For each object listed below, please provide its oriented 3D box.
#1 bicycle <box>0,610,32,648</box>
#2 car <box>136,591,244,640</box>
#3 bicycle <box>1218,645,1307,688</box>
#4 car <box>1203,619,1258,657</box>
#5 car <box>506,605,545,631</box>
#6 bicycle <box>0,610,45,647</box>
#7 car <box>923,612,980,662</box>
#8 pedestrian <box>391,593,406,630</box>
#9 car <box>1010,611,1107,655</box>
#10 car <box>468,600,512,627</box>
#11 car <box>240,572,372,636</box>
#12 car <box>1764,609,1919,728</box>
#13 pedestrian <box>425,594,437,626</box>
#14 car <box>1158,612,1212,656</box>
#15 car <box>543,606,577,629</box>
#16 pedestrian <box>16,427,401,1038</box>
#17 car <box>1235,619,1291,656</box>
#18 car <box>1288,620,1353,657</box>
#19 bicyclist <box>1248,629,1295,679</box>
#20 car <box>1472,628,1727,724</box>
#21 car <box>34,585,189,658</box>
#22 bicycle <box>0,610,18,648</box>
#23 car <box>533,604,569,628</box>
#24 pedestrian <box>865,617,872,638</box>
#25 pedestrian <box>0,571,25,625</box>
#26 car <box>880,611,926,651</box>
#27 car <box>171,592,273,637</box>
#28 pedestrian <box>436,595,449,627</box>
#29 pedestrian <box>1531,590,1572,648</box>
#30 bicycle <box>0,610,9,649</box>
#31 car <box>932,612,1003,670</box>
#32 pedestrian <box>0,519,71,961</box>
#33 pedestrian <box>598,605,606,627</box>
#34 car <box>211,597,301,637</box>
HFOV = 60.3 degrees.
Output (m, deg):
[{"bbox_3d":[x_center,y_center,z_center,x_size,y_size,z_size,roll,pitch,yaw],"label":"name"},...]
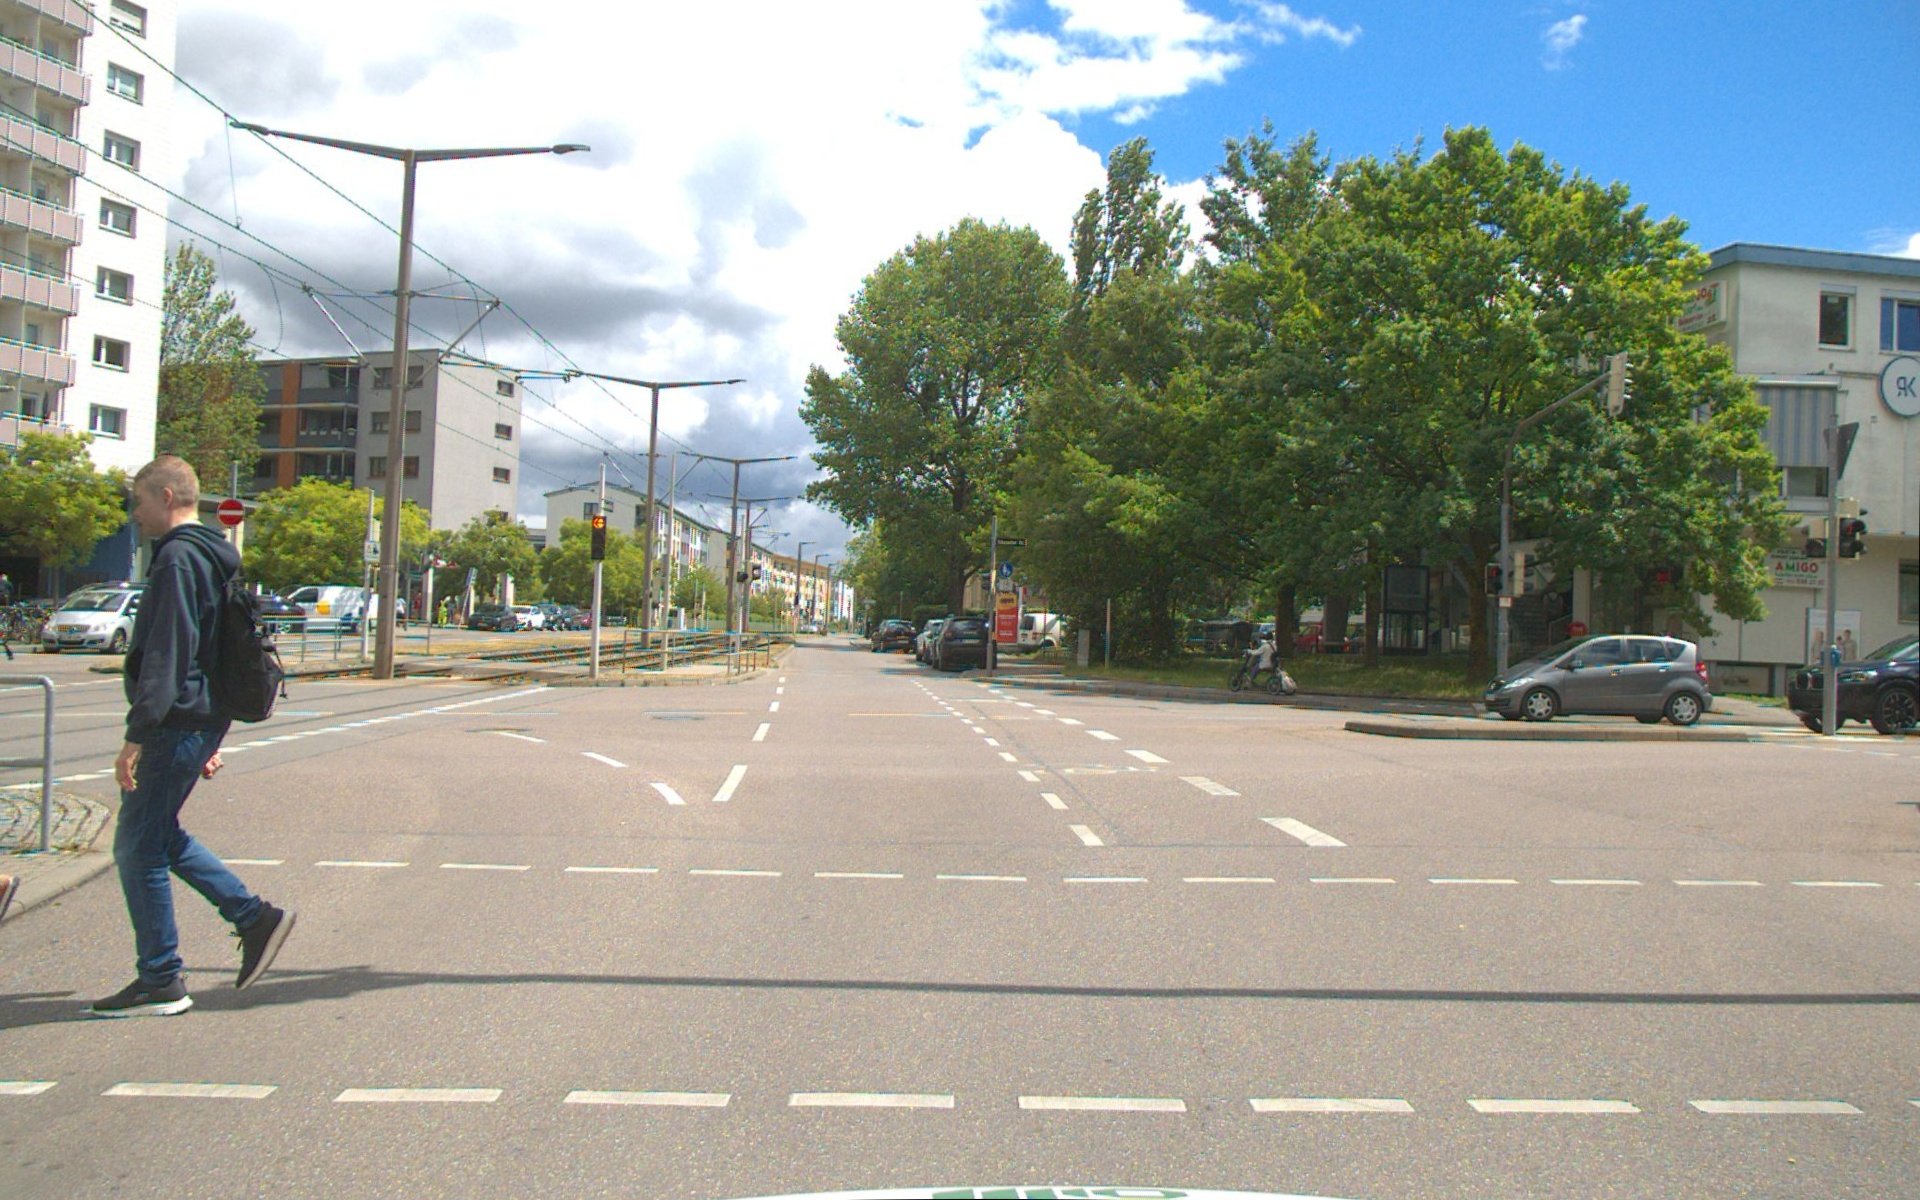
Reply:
[{"bbox_3d":[-24.880,0.731,42.323,1.910,0.951,0.494,1,-1,-7],"label":"bicycle"},{"bbox_3d":[-26.806,0.524,57.516,4.143,1.597,1.949,1,0,43],"label":"car"},{"bbox_3d":[6.498,1.426,35.600,0.787,0.833,1.780,2,0,-43],"label":"bicycle"},{"bbox_3d":[12.307,1.705,75.452,1.598,1.600,4.029,1,0,-4],"label":"car"},{"bbox_3d":[-25.744,1.053,98.078,1.728,1.419,3.993,1,0,-7],"label":"car"},{"bbox_3d":[-24.830,0.735,42.838,1.910,0.951,0.494,1,-1,-7],"label":"bicycle"},{"bbox_3d":[-0.311,1.327,59.226,1.953,1.713,3.999,1,-1,-1],"label":"car"},{"bbox_3d":[-27.200,0.555,80.135,0.536,1.746,0.405,1,0,-1],"label":"pedestrian"},{"bbox_3d":[4.379,1.467,73.372,3.933,1.855,1.766,1,0,-24],"label":"car"},{"bbox_3d":[-25.723,0.704,90.680,1.728,1.419,3.993,1,0,-7],"label":"car"},{"bbox_3d":[-27.338,0.130,69.024,2.811,2.522,6.614,1,0,-44],"label":"car"},{"bbox_3d":[15.256,1.058,25.880,4.472,1.747,1.997,1,0,-8],"label":"car"},{"bbox_3d":[-28.770,0.549,89.976,0.537,1.746,0.404,1,0,-11],"label":"pedestrian"},{"bbox_3d":[10.162,1.515,74.880,1.598,1.842,4.029,1,0,-4],"label":"car"},{"bbox_3d":[-26.405,1.161,109.223,1.728,1.419,3.993,1,0,-7],"label":"car"},{"bbox_3d":[-2.597,0.437,5.845,0.947,1.976,0.896,1,0,-5],"label":"pedestrian"},{"bbox_3d":[14.049,1.718,76.804,1.598,1.623,3.997,1,0,-4],"label":"car"},{"bbox_3d":[16.795,1.766,77.254,1.698,1.623,3.993,1,0,-8],"label":"car"},{"bbox_3d":[6.690,1.147,35.498,0.788,1.040,0.626,2,-1,-43],"label":"bicyclist"},{"bbox_3d":[11.495,1.347,29.919,3.827,1.583,2.000,1,0,-1],"label":"car"},{"bbox_3d":[-21.269,0.517,41.621,1.898,1.723,3.872,1,0,-1],"label":"car"},{"bbox_3d":[-24.880,0.727,41.681,1.910,0.951,0.494,1,-1,-7],"label":"bicycle"},{"bbox_3d":[-25.841,1.002,104.669,1.728,1.419,3.993,1,0,-7],"label":"car"},{"bbox_3d":[-7.505,2.270,135.554,0.469,1.665,0.454,1,0,-2],"label":"pedestrian"},{"bbox_3d":[-34.350,-0.080,59.495,0.849,1.950,1.211,1,0,-12],"label":"pedestrian"},{"bbox_3d":[-2.518,1.360,74.419,1.953,1.713,3.999,1,0,-1],"label":"car"},{"bbox_3d":[-27.129,0.526,60.764,4.143,1.564,1.949,1,0,43],"label":"car"},{"bbox_3d":[-28.198,0.603,90.084,0.537,1.746,0.667,1,0,-11],"label":"pedestrian"},{"bbox_3d":[17.405,0.560,48.666,0.755,1.672,0.904,2,0,-14],"label":"pedestrian"},{"bbox_3d":[-24.834,0.724,41.207,1.910,0.951,0.494,1,-1,-7],"label":"bicycle"},{"bbox_3d":[0.194,1.259,51.788,2.108,1.713,3.999,1,-1,-1],"label":"car"},{"bbox_3d":[-4.144,0.539,6.643,0.941,1.703,0.864,0,-1,-25],"label":"pedestrian"},{"bbox_3d":[-26.534,1.187,122.529,0.443,1.665,0.480,1,0,4],"label":"pedestrian"},{"bbox_3d":[-27.257,0.630,63.962,4.147,1.445,1.777,1,0,45],"label":"car"}]
